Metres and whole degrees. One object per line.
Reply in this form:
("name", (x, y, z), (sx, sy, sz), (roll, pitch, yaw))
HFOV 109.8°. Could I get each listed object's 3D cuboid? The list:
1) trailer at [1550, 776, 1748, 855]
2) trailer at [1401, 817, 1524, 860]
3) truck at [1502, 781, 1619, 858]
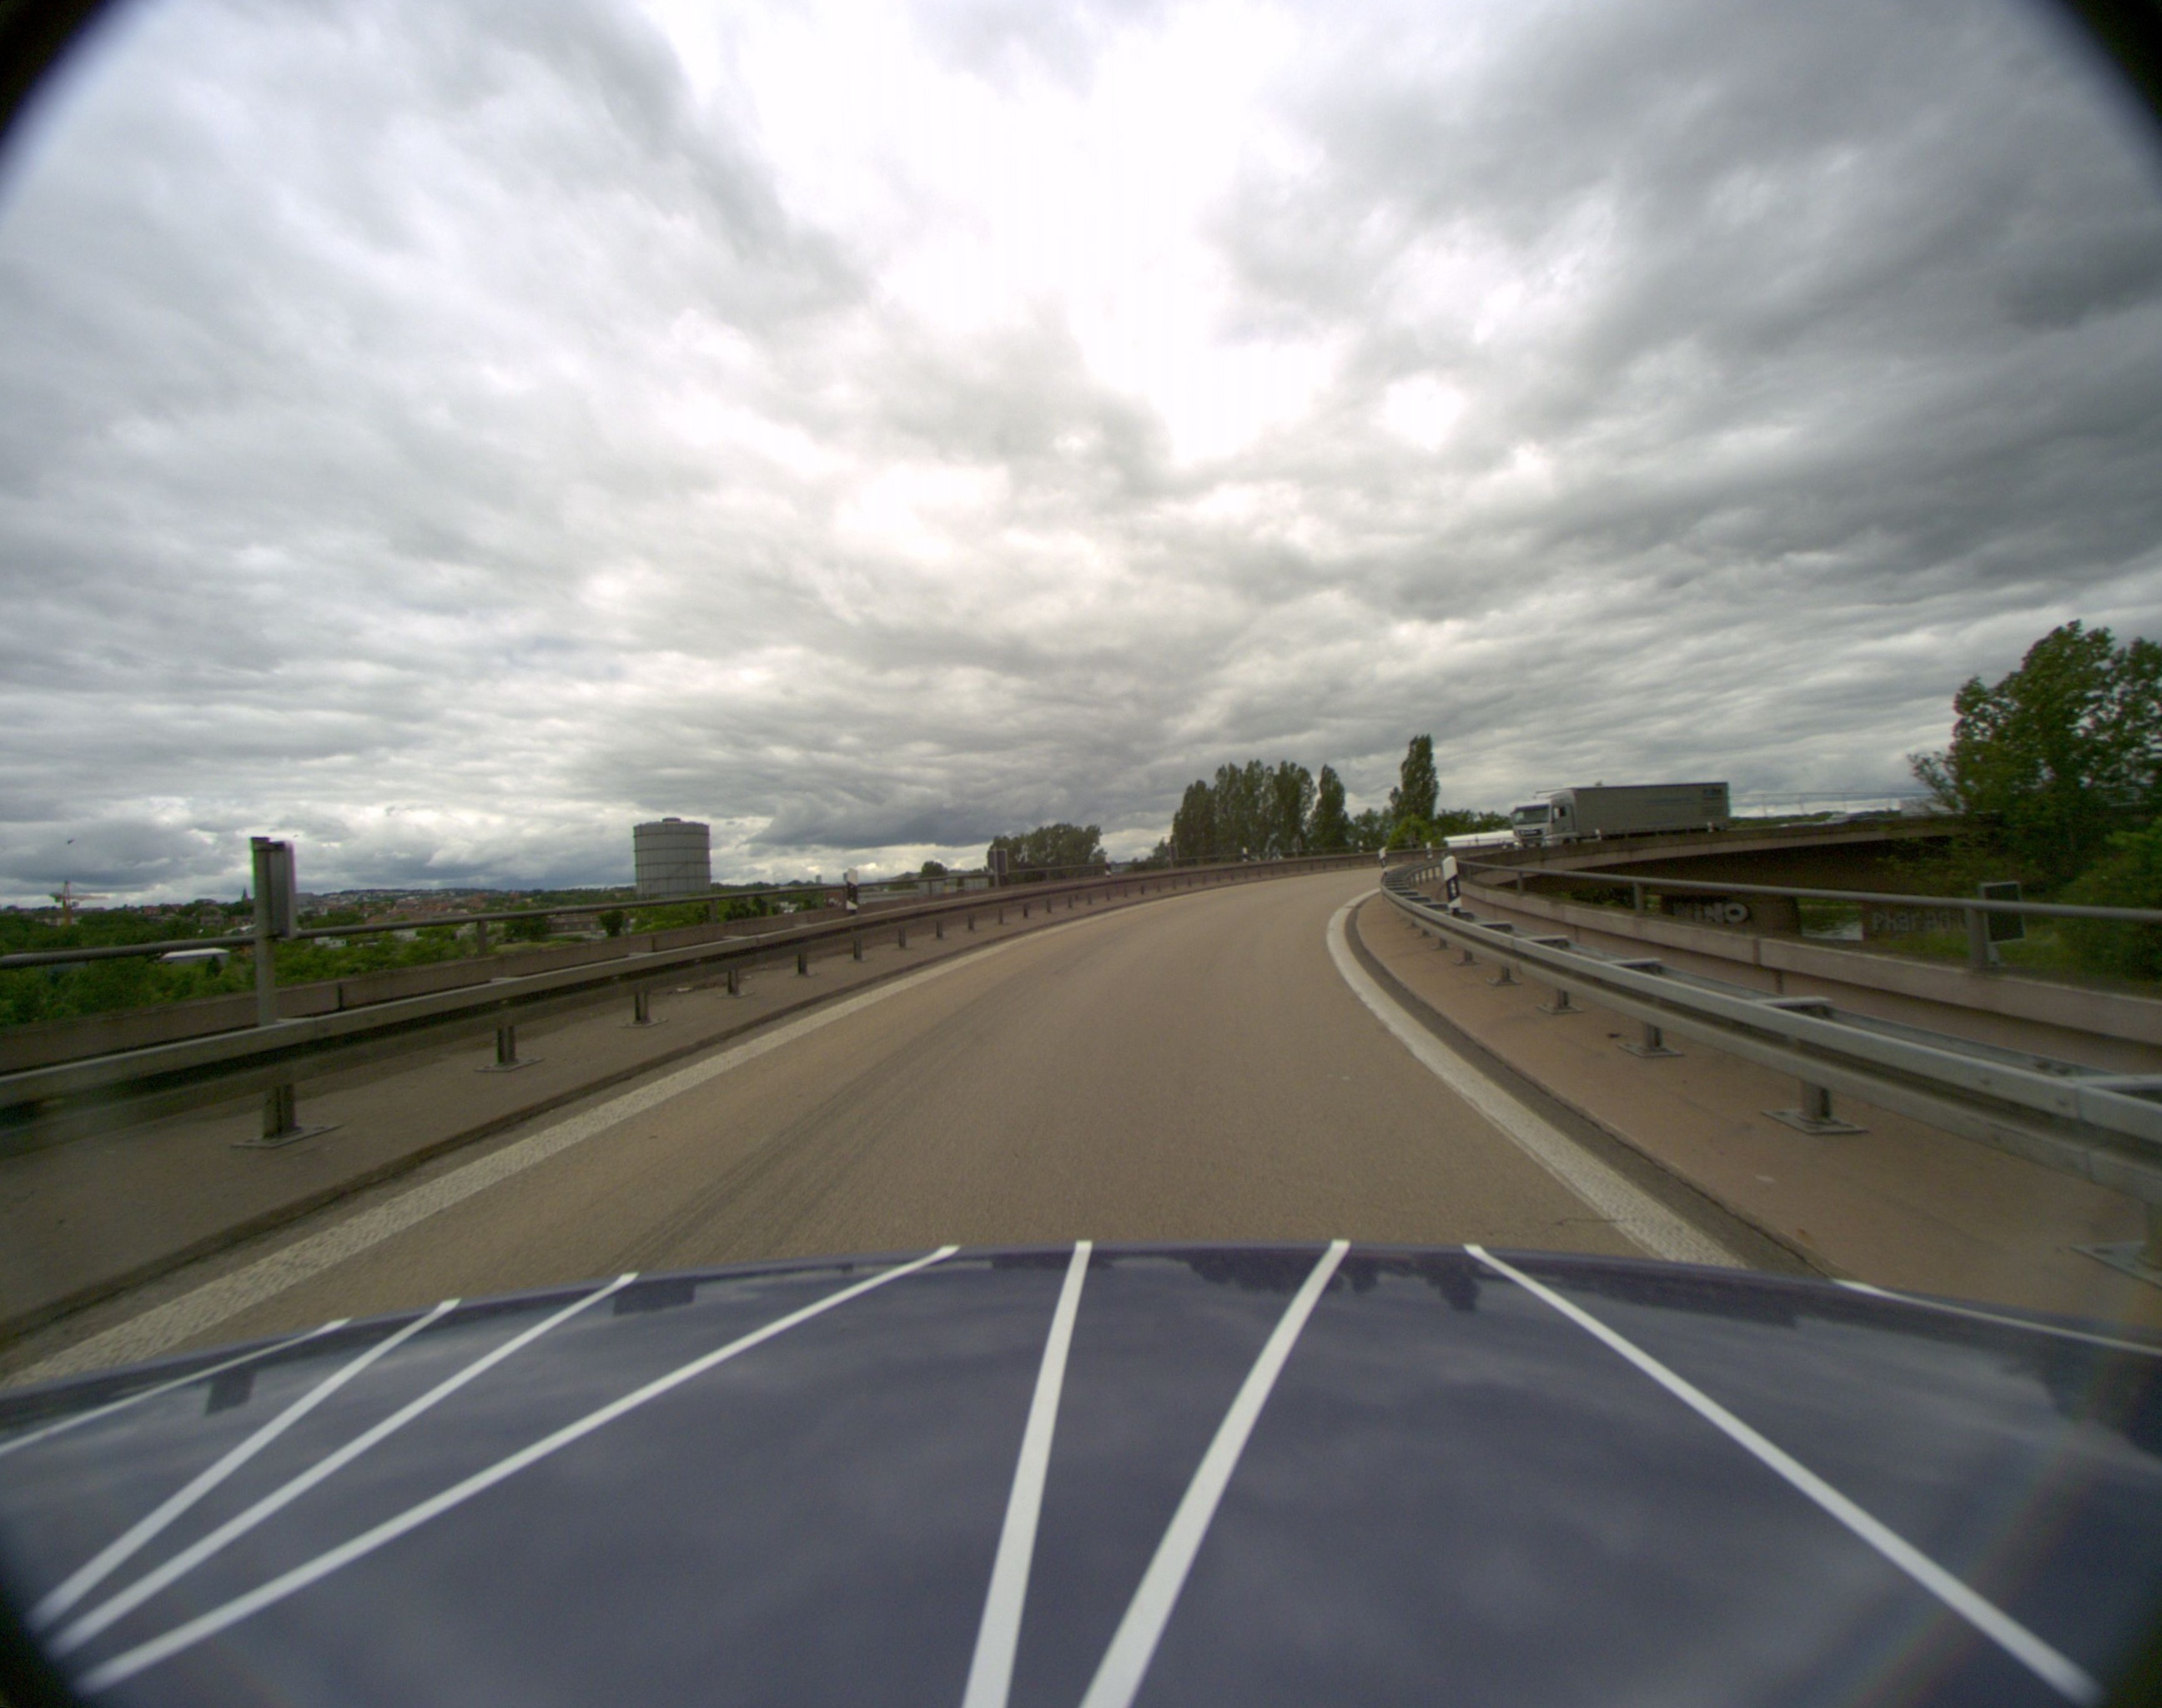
("trailer", (36.321, -2.468, 48.444), (13.456, 4.212, 2.746), (-4, -1, -18))
("trailer", (39.567, -1.539, 79.062), (10.978, 3.628, 2.754), (-5, -1, 35))
("truck", (28.812, -2.084, 45.610), (6.207, 4.203, 2.732), (-4, -1, -24))
